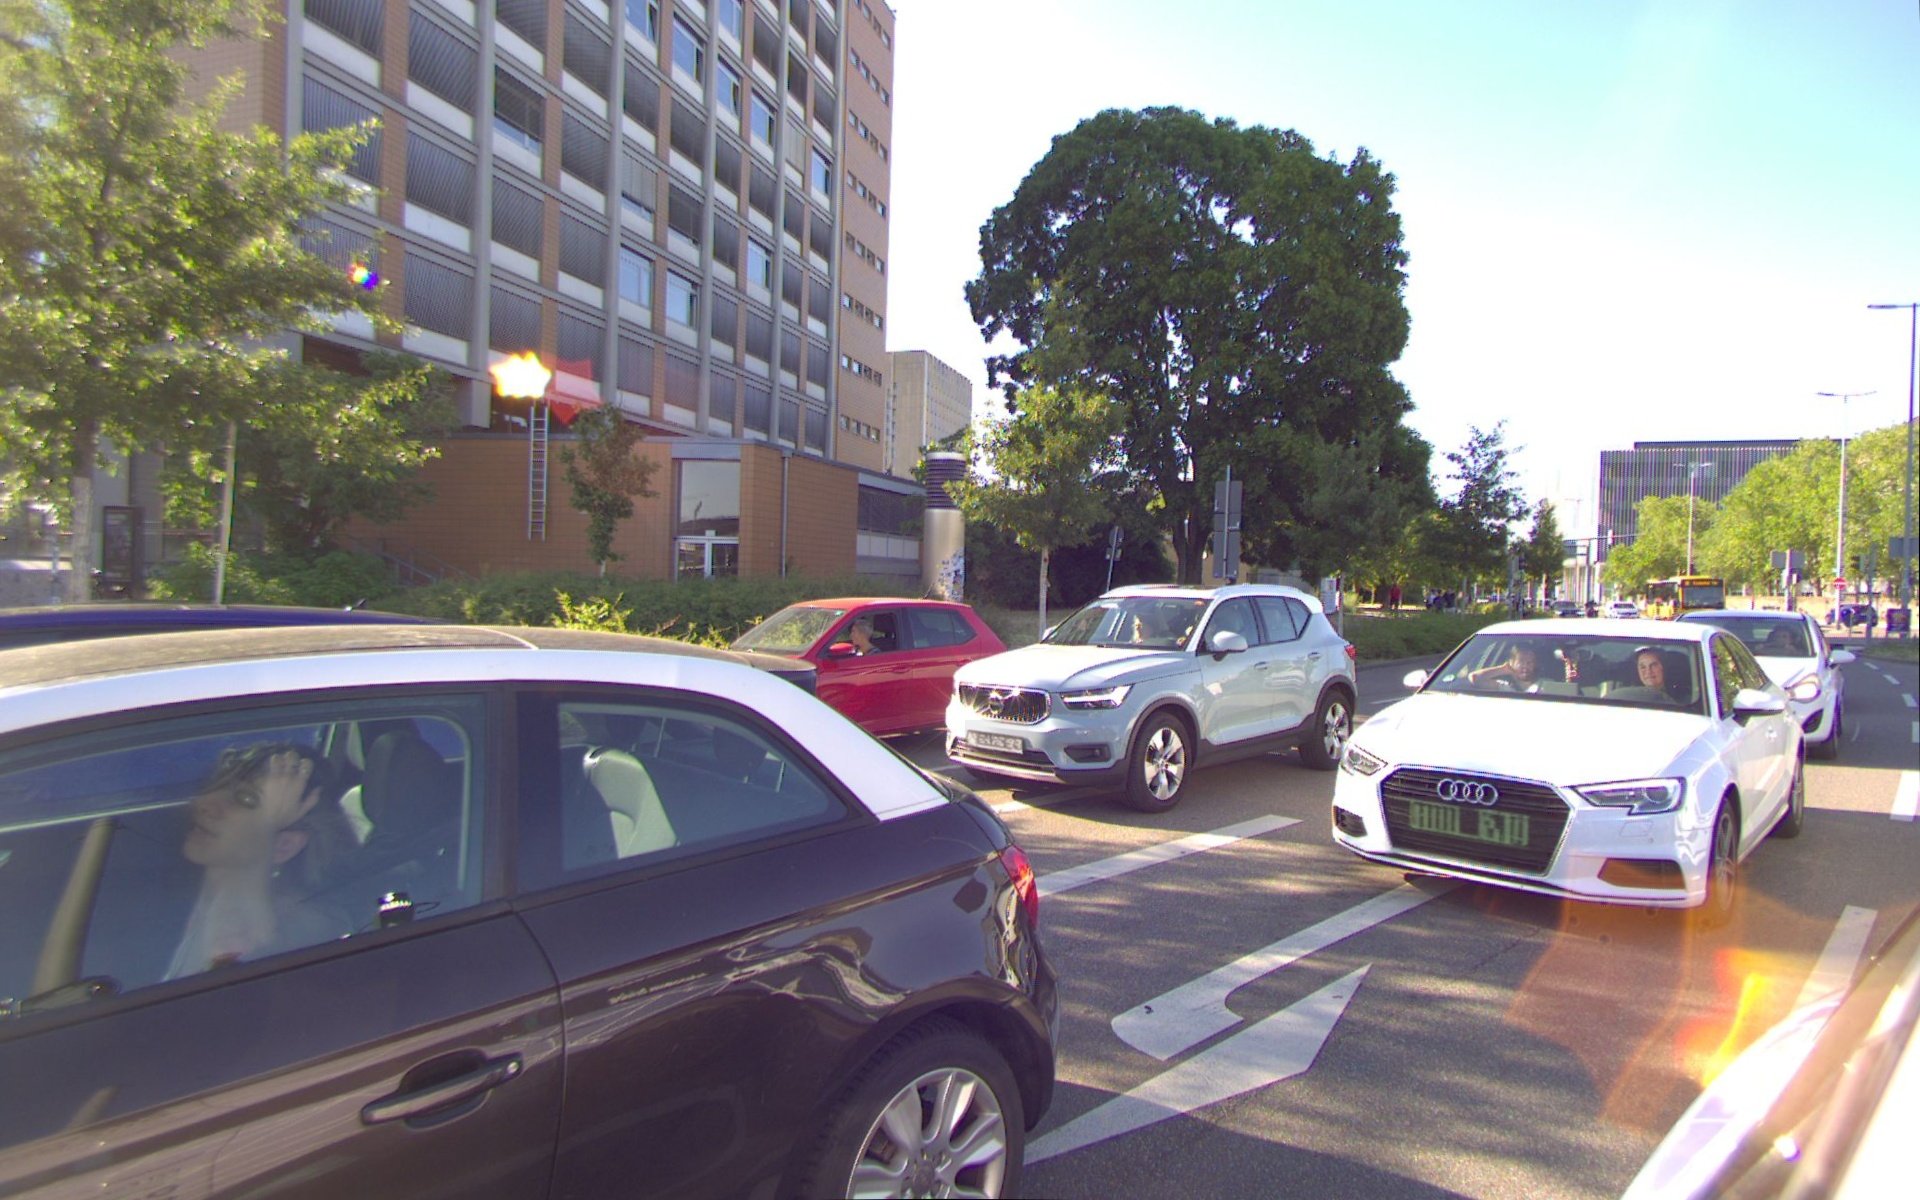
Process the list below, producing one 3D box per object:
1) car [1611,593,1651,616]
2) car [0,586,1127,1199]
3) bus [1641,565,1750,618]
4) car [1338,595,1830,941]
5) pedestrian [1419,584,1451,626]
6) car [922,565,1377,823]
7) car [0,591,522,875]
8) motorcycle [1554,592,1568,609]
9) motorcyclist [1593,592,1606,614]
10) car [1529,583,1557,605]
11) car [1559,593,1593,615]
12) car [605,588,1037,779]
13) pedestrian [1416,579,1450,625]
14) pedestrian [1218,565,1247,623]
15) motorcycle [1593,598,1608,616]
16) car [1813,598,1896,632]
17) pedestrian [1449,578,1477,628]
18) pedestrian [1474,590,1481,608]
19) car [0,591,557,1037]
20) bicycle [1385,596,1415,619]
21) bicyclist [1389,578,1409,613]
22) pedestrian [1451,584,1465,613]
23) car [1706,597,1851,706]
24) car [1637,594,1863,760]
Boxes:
[{"bbox_3d":[45.071,0.257,68.040,1.740,1.478,4.149,0,0,27],"label":"car"},{"bbox_3d":[-1.621,0.696,1.690,3.930,1.422,1.626,-1,0,-41],"label":"car"},{"bbox_3d":[49.378,-0.601,68.432,3.051,3.252,12.451,0,0,22],"label":"bus"},{"bbox_3d":[3.947,0.692,6.130,3.769,1.422,1.625,-1,0,-43],"label":"car"},{"bbox_3d":[19.683,0.194,41.921,1.005,1.742,0.873,0,0,39],"label":"pedestrian"},{"bbox_3d":[1.775,0.572,8.470,4.153,1.641,1.625,-1,0,-43],"label":"car"},{"bbox_3d":[-5.169,0.672,5.993,4.434,1.422,1.725,-1,1,-42],"label":"car"},{"bbox_3d":[46.604,0.052,78.495,0.710,1.321,2.216,0,0,25],"label":"motorcycle"},{"bbox_3d":[48.172,0.242,76.235,0.704,1.610,0.684,0,0,26],"label":"motorcyclist"},{"bbox_3d":[47.941,-0.478,83.259,1.730,1.727,3.962,2,1,27],"label":"car"},{"bbox_3d":[42.516,0.257,69.895,1.740,1.478,4.149,0,0,27],"label":"car"},{"bbox_3d":[-1.190,0.632,9.855,3.974,1.478,1.625,-1,0,-43],"label":"car"},{"bbox_3d":[21.421,0.091,45.823,1.137,2.039,1.268,0,0,39],"label":"pedestrian"},{"bbox_3d":[7.657,-0.163,28.432,0.593,1.615,0.586,0,0,41],"label":"pedestrian"},{"bbox_3d":[48.273,0.528,76.302,0.711,1.321,2.215,0,0,26],"label":"motorcycle"},{"bbox_3d":[57.594,0.936,65.255,1.965,2.039,3.994,0,0,5],"label":"car"},{"bbox_3d":[20.995,0.127,42.225,0.891,2.039,0.870,0,0,39],"label":"pedestrian"},{"bbox_3d":[49.016,-0.134,95.818,0.475,1.706,0.399,1,1,-41],"label":"pedestrian"},{"bbox_3d":[-3.759,0.688,3.731,3.930,1.422,1.626,-1,0,-41],"label":"car"},{"bbox_3d":[19.974,0.346,45.931,0.657,0.975,2.005,2,2,41],"label":"bicycle"},{"bbox_3d":[19.894,-0.222,45.824,0.615,1.580,0.858,0,0,41],"label":"bicyclist"},{"bbox_3d":[35.915,-0.097,72.972,0.846,2.039,0.824,0,0,34],"label":"pedestrian"},{"bbox_3d":[13.112,0.713,16.132,1.622,1.478,3.981,0,0,42],"label":"car"},{"bbox_3d":[8.874,0.691,11.236,1.623,1.478,3.979,0,0,43],"label":"car"}]
